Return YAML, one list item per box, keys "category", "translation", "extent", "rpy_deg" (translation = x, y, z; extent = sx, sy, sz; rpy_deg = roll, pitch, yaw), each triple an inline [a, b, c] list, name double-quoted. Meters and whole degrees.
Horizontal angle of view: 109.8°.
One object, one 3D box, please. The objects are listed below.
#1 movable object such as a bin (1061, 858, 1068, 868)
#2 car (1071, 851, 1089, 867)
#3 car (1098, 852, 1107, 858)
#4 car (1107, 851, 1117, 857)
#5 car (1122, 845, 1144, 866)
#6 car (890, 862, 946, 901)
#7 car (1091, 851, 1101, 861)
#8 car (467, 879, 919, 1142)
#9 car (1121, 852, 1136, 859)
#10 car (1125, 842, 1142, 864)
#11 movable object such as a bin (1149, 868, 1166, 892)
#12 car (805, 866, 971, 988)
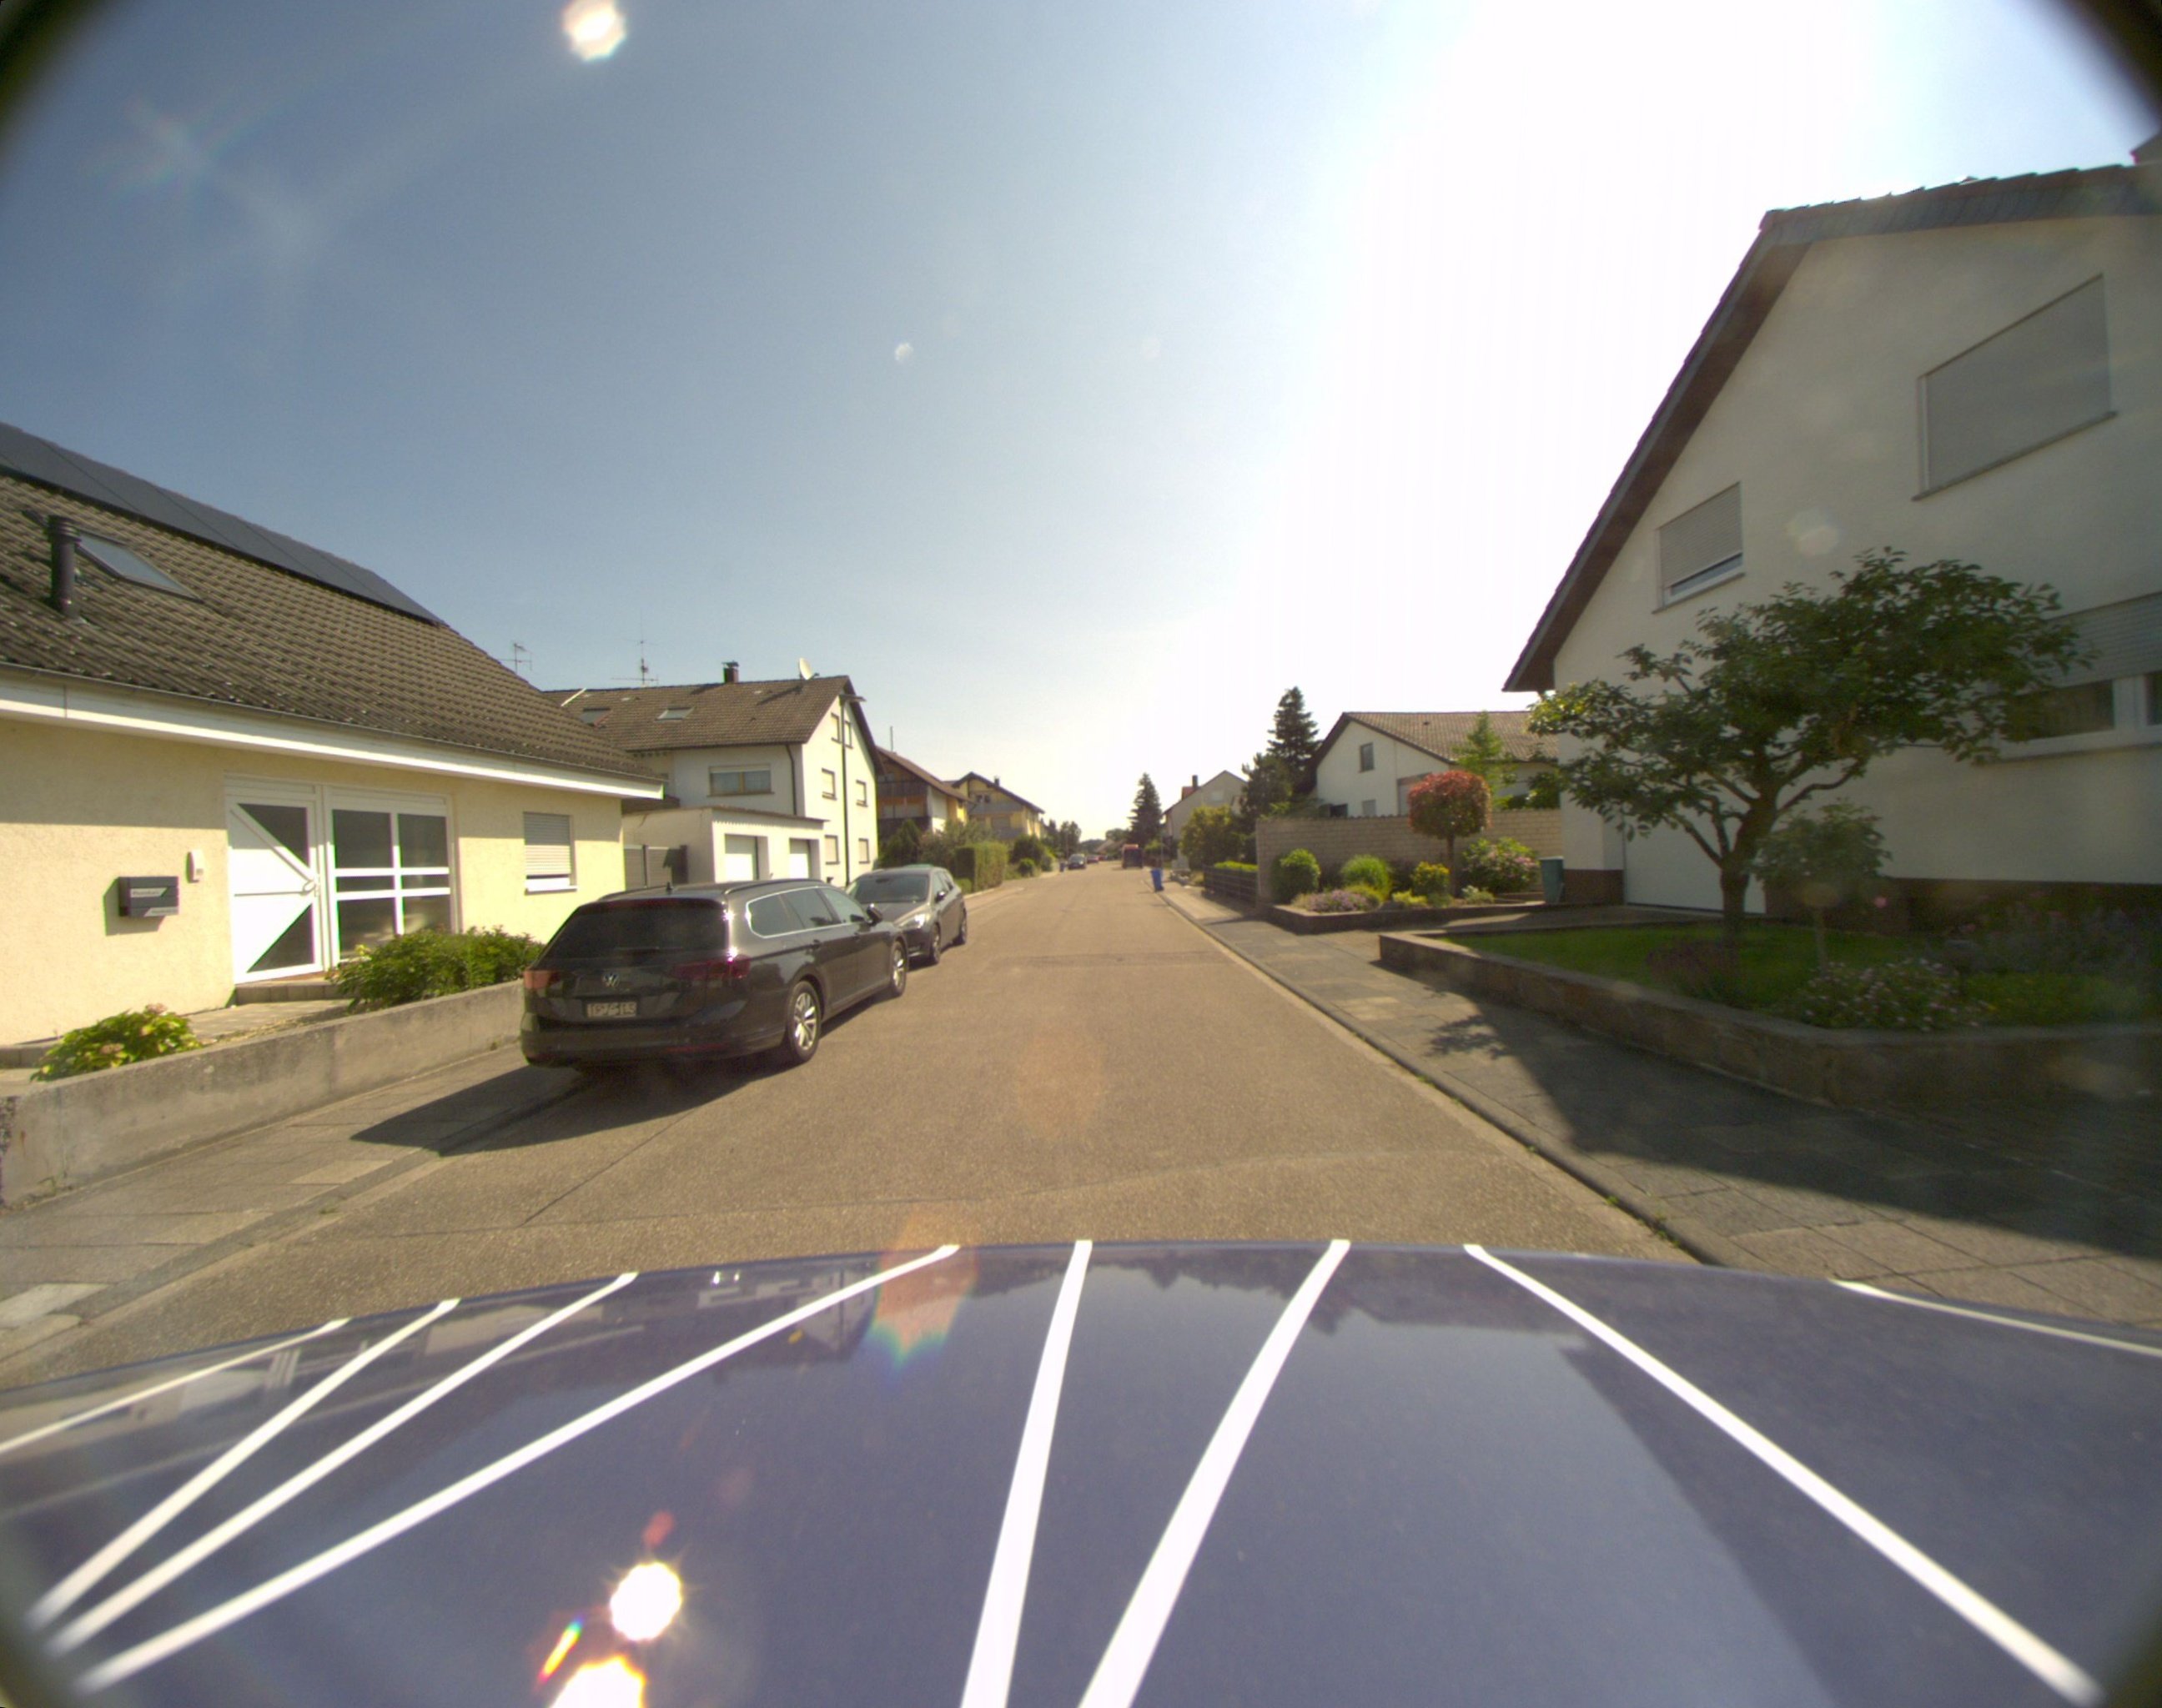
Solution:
- category: "movable object such as a bin"
  translation: [-1.585, 0.897, 73.756]
  extent: [0.584, 0.911, 0.598]
  rpy_deg: [-3, 1, 1]
- category: "car"
  translation: [-0.077, 0.550, 82.959]
  extent: [1.631, 1.616, 4.001]
  rpy_deg: [-3, 0, 4]
- category: "car"
  translation: [5.328, 0.263, 189.134]
  extent: [1.710, 1.332, 3.999]
  rpy_deg: [-3, -1, -5]
- category: "car"
  translation: [7.222, 0.039, 176.870]
  extent: [1.710, 1.332, 3.999]
  rpy_deg: [-3, -1, -5]
- category: "car"
  translation: [5.003, 0.145, 73.257]
  extent: [1.869, 1.927, 4.204]
  rpy_deg: [-3, 0, 2]
- category: "car"
  translation: [-6.553, 1.072, 30.837]
  extent: [1.498, 1.351, 3.526]
  rpy_deg: [-2, 0, 0]
- category: "car"
  translation: [2.431, 0.333, 125.411]
  extent: [1.517, 1.398, 3.677]
  rpy_deg: [-3, 0, 0]
- category: "car"
  translation: [-3.009, 1.099, 7.190]
  extent: [1.721, 1.430, 4.503]
  rpy_deg: [-4, 0, 2]
- category: "car"
  translation: [11.631, 0.287, 185.717]
  extent: [3.413, 1.521, 1.637]
  rpy_deg: [-3, 1, -4]
- category: "car"
  translation: [5.732, -0.119, 82.641]
  extent: [1.555, 2.310, 4.204]
  rpy_deg: [-3, 0, 2]
- category: "movable object such as a bin"
  translation: [3.025, 1.020, 30.058]
  extent: [0.584, 0.911, 0.598]
  rpy_deg: [-3, 1, 2]
- category: "car"
  translation: [-2.992, 1.057, 12.648]
  extent: [1.646, 1.470, 3.999]
  rpy_deg: [-4, 1, 0]
